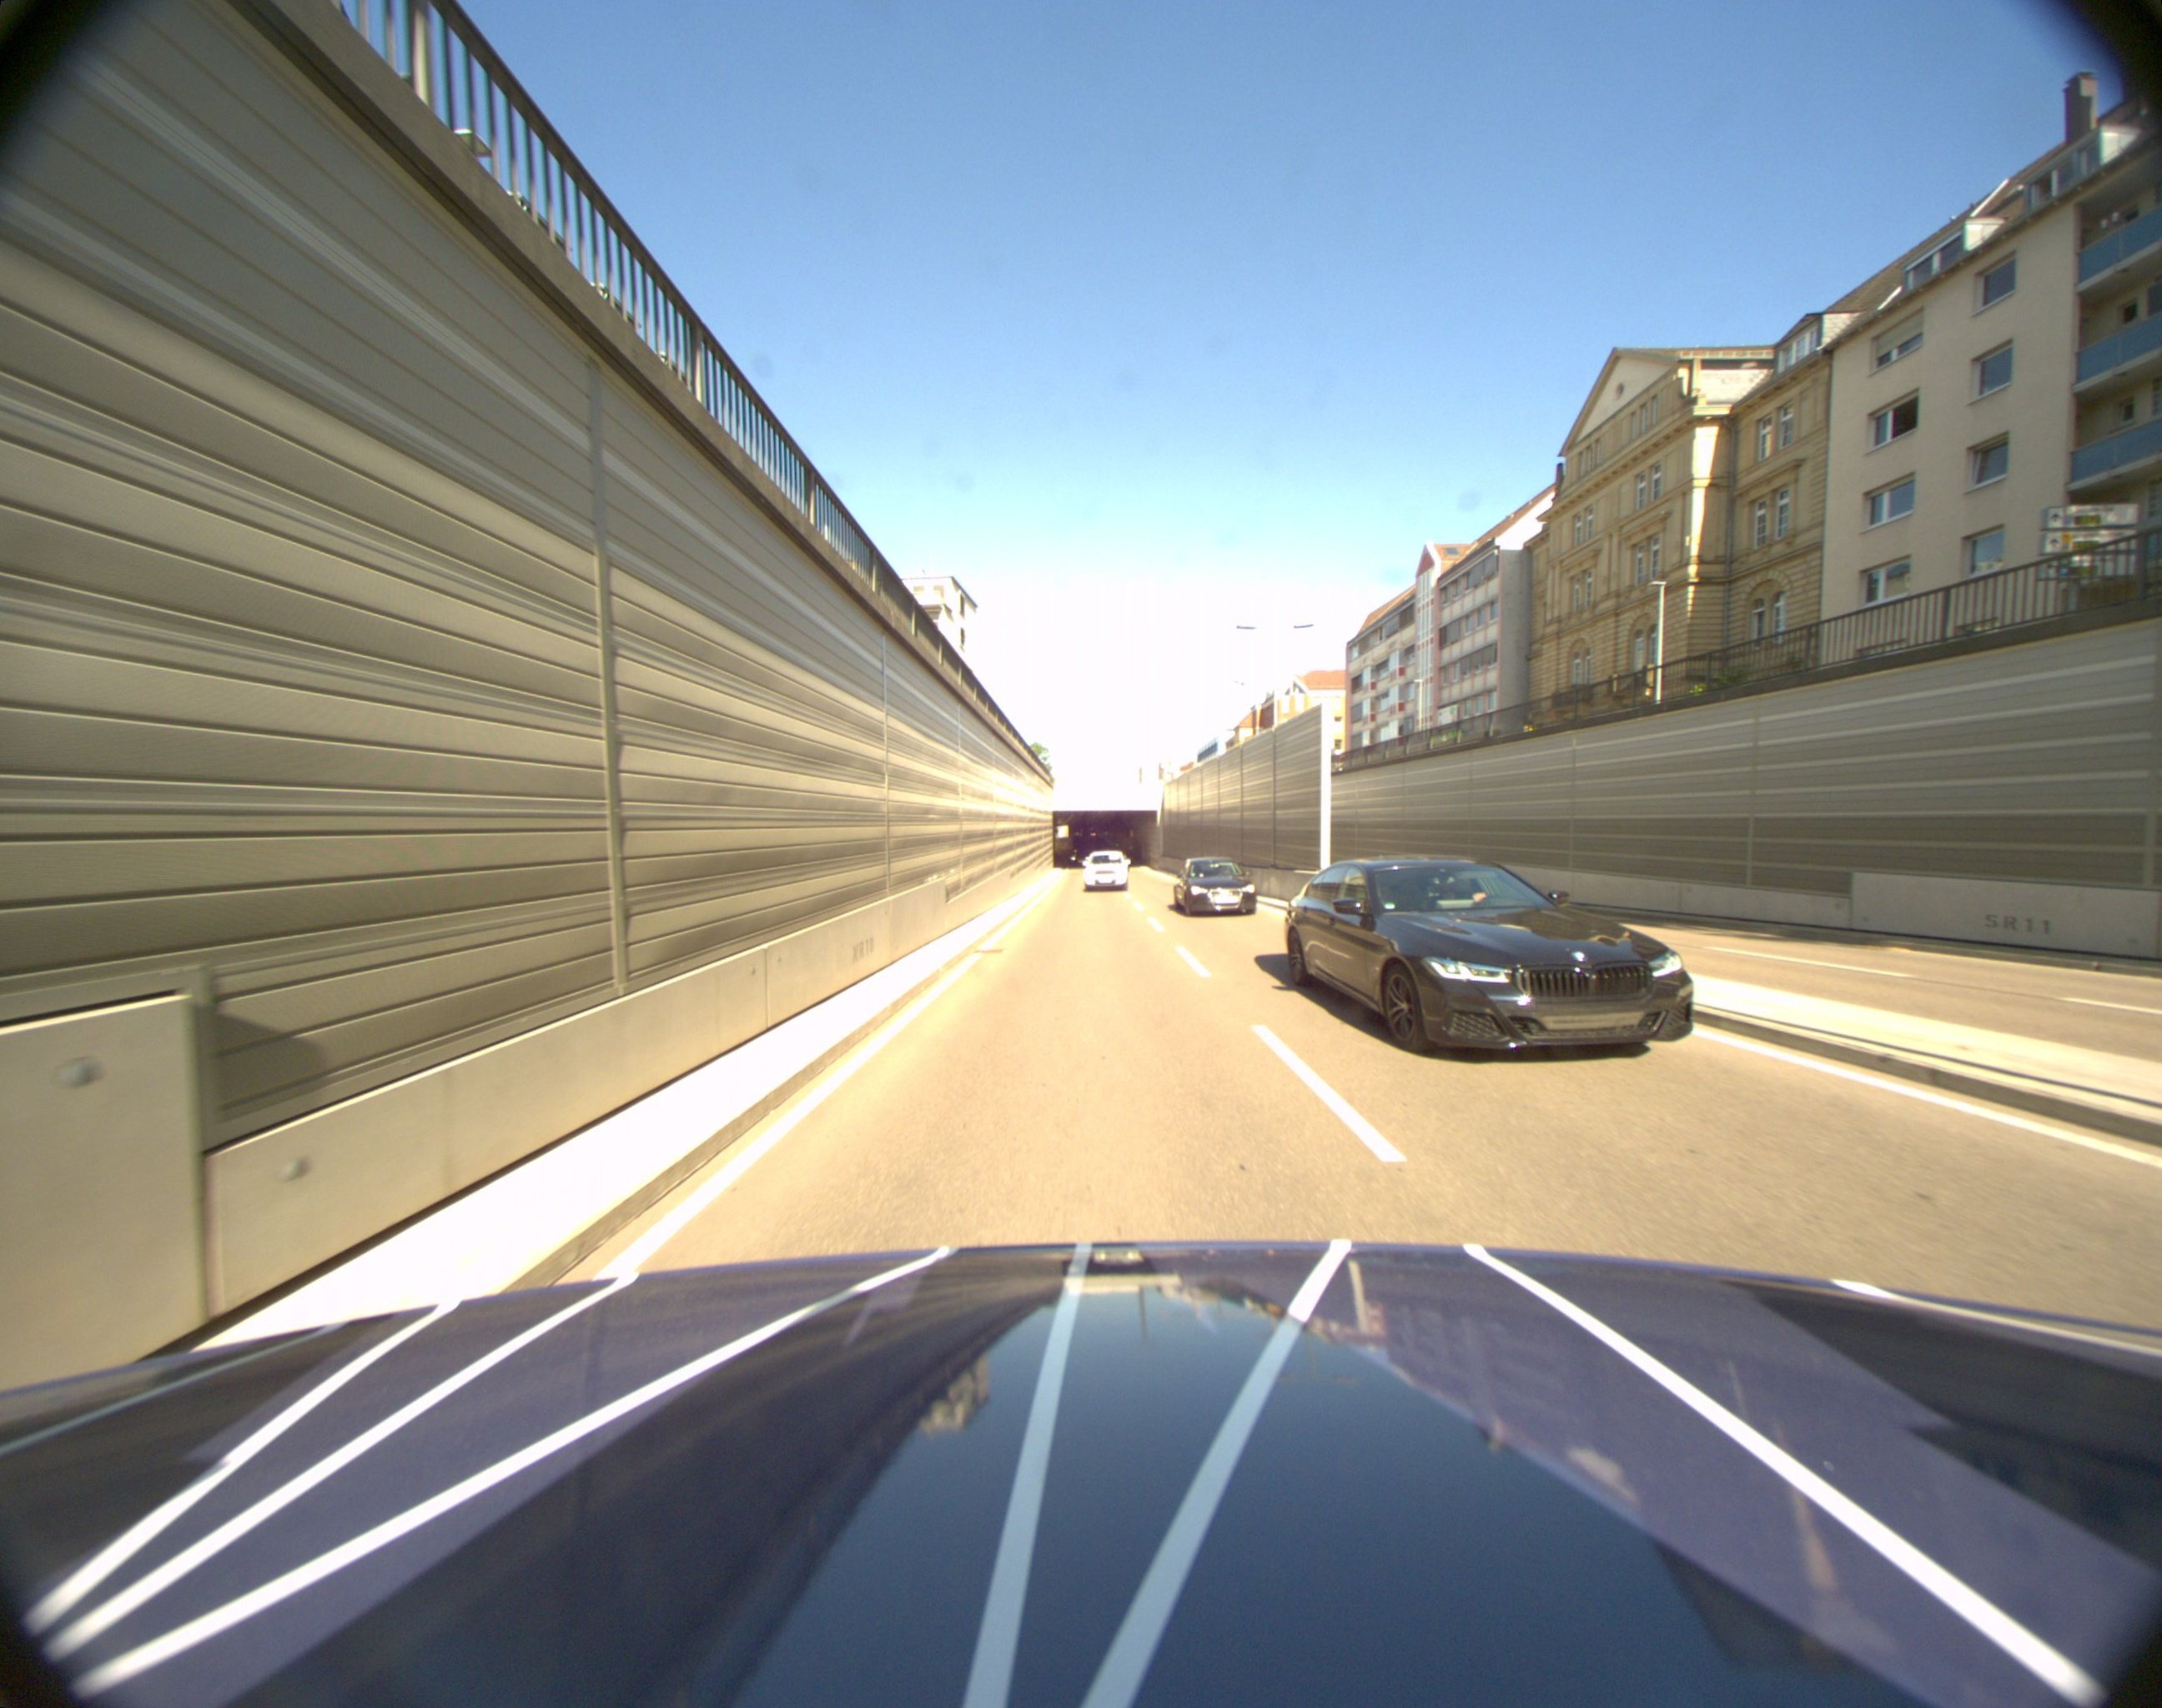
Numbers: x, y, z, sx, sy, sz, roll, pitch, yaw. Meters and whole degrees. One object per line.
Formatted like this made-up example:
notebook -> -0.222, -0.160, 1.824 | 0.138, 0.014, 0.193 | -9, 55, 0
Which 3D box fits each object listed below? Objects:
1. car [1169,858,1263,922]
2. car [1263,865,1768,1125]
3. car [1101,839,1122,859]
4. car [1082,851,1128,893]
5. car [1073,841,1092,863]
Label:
car -> 3.371, 0.850, 19.627 | 1.700, 1.410, 3.888 | -2, 0, 0
car -> 3.213, 0.882, 7.068 | 1.813, 1.431, 5.002 | -2, 0, 0
car -> 3.238, -0.537, 82.065 | 1.999, 2.002, 3.998 | -2, 2, -1
car -> 0.989, 0.718, 32.742 | 1.855, 1.658, 3.970 | -1, 1, 1
car -> 0.116, -0.239, 75.615 | 1.785, 2.002, 3.907 | -2, 2, 0
